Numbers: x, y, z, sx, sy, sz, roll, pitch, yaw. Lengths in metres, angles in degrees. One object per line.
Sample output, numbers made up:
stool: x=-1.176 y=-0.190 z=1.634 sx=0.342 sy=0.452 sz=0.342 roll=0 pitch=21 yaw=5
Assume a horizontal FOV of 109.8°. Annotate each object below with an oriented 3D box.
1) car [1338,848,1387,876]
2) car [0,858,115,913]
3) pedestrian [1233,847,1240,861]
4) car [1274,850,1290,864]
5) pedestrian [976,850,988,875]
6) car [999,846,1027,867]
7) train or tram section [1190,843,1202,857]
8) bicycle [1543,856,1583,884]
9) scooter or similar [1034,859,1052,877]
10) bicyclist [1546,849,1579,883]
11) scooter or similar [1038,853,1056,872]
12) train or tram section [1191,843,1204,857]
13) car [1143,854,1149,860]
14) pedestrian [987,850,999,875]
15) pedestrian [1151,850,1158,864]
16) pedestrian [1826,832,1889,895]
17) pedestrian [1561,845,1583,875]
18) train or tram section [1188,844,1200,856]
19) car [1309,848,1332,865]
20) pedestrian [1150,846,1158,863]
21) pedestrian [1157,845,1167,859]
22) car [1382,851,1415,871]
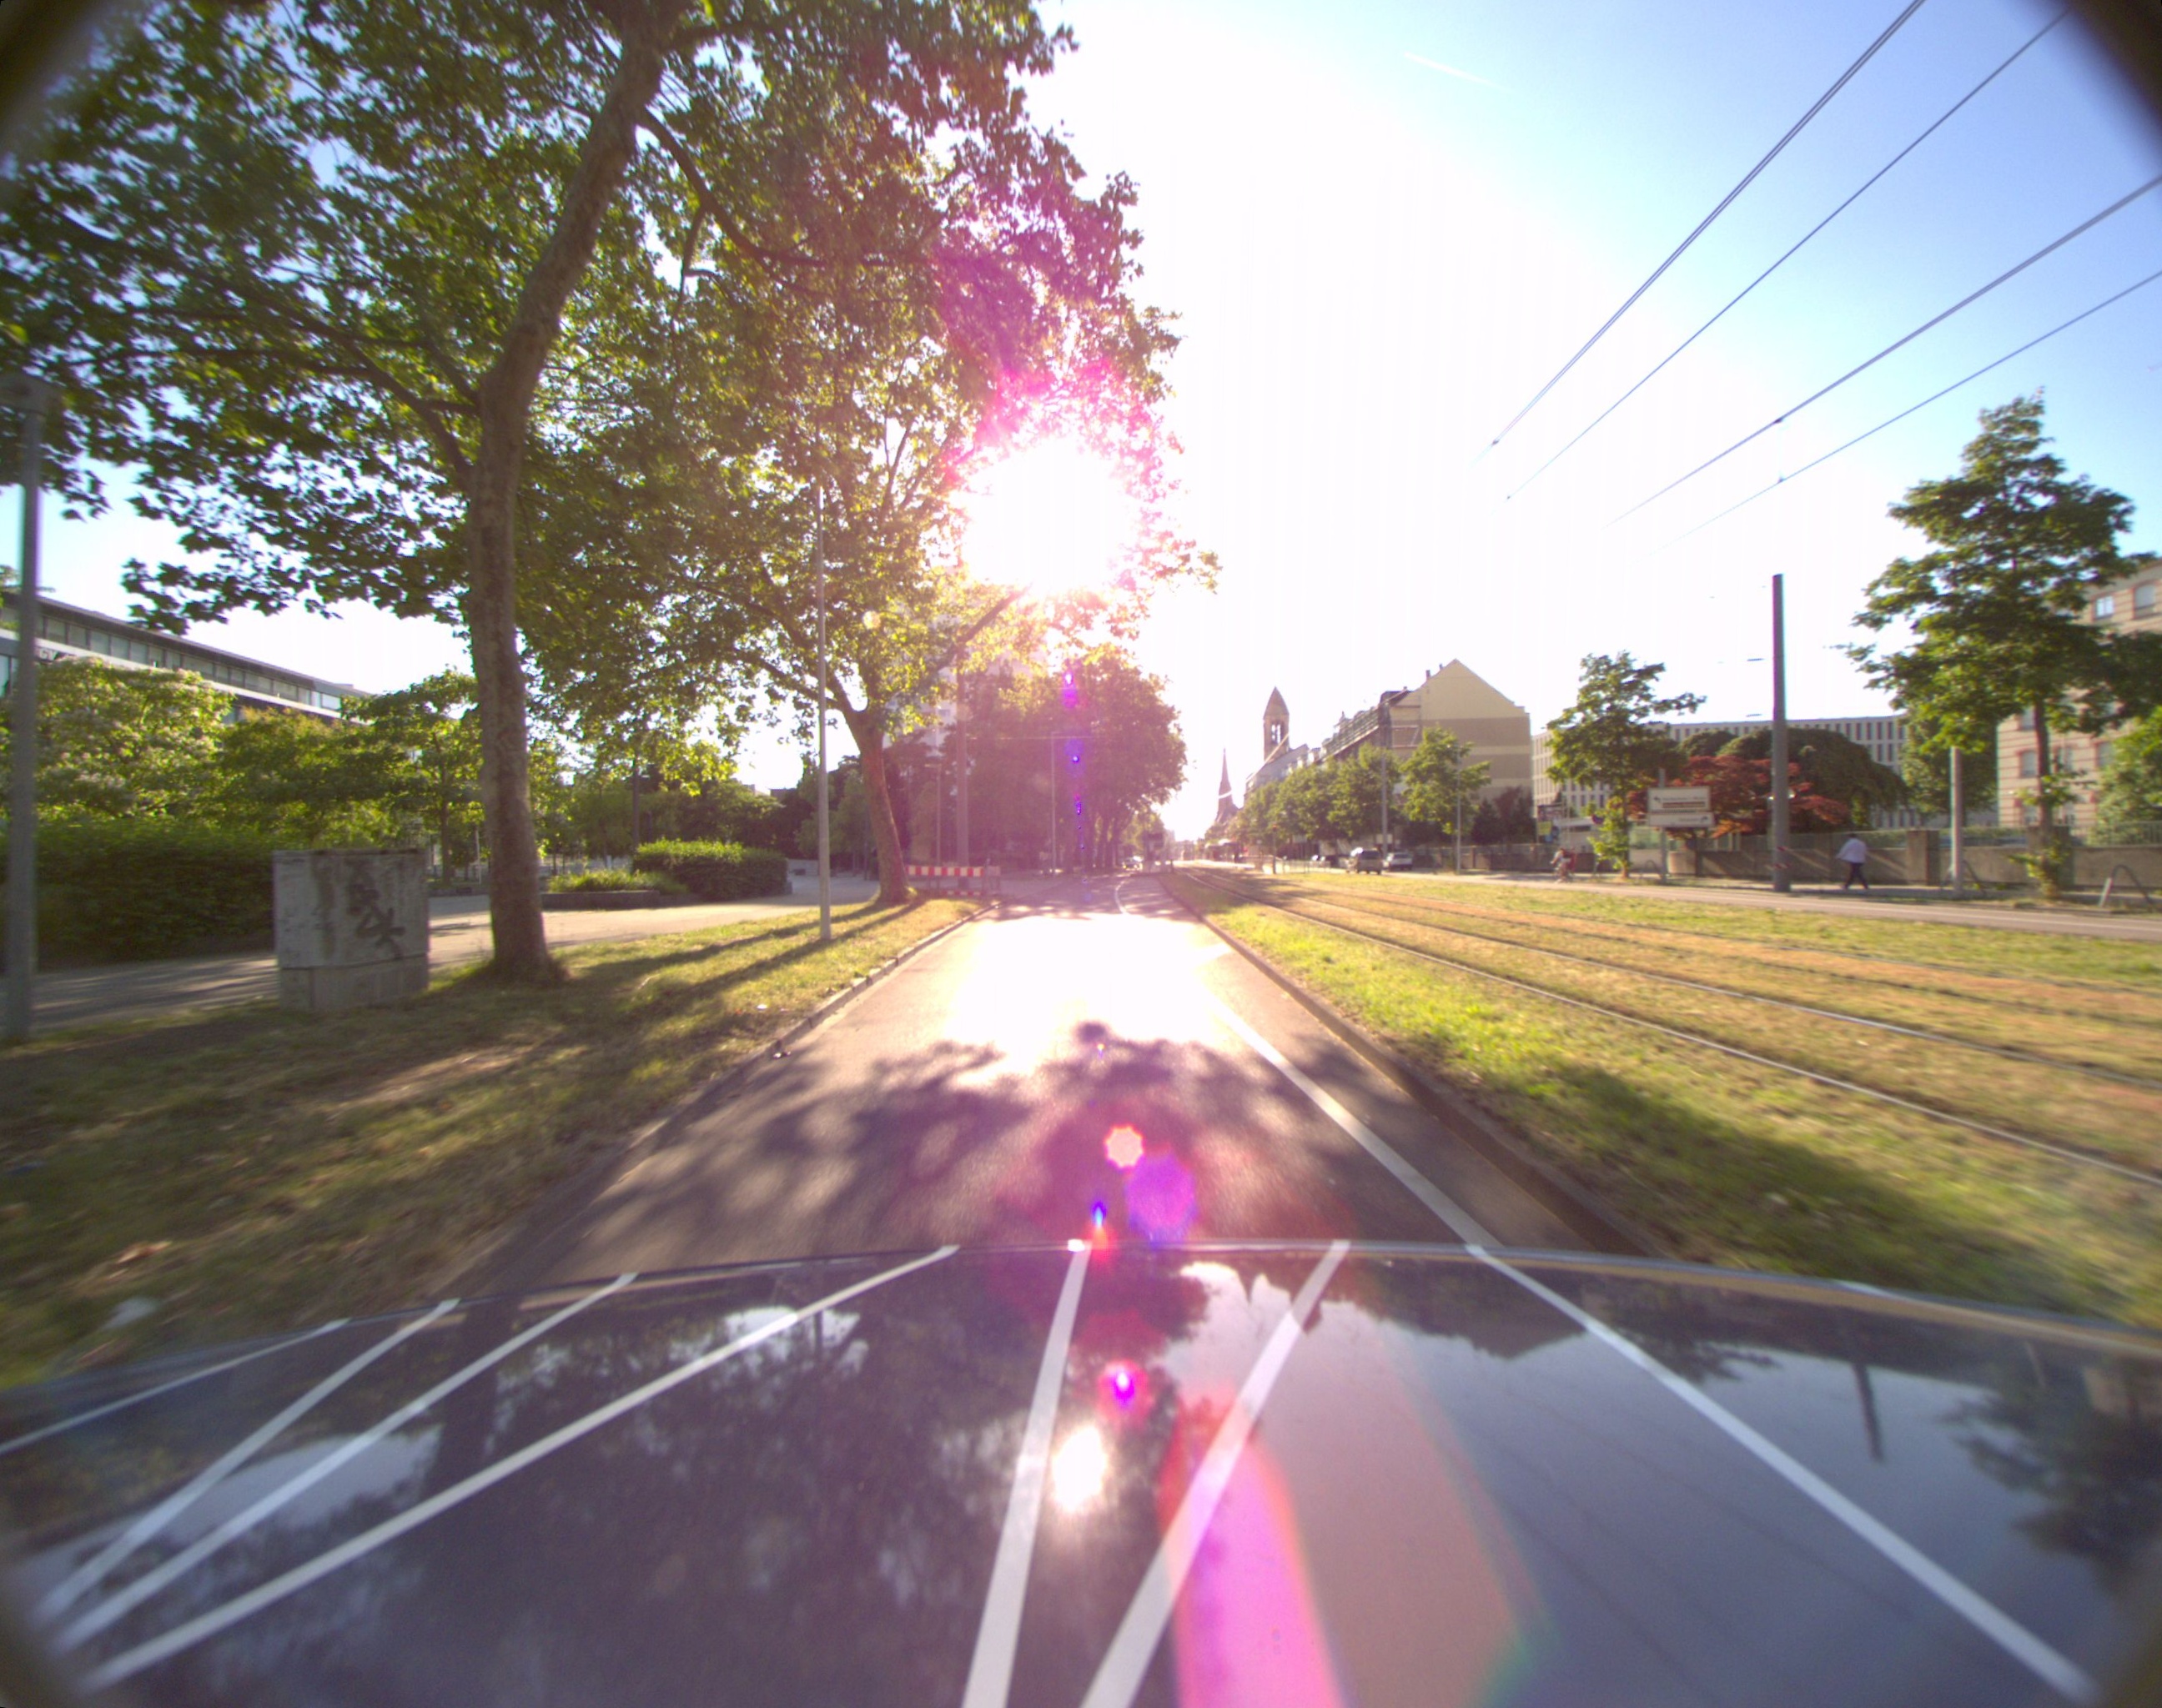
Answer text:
car: x=20.649 y=0.535 z=55.997 sx=1.943 sy=1.907 sz=4.472 roll=-1 pitch=0 yaw=0
car: x=-31.113 y=0.890 z=21.306 sx=4.688 sy=1.476 sz=2.070 roll=-1 pitch=-1 yaw=-13
pedestrian: x=18.891 y=0.009 z=92.245 sx=0.681 sy=1.680 sz=0.655 roll=-3 pitch=0 yaw=4
car: x=33.217 y=0.492 z=125.590 sx=1.944 sy=2.153 sz=3.786 roll=-3 pitch=0 yaw=6
pedestrian: x=-6.623 y=0.554 z=50.803 sx=0.651 sy=1.647 sz=0.783 roll=0 pitch=1 yaw=6
car: x=-8.510 y=0.325 z=95.237 sx=1.997 sy=2.484 sz=6.350 roll=-3 pitch=0 yaw=8
train or tram section: x=32.135 y=-1.155 z=212.809 sx=2.875 sy=3.664 sz=14.567 roll=-1 pitch=0 yaw=6
bicycle: x=21.683 y=0.721 z=34.207 sx=0.776 sy=1.186 sz=1.756 roll=-3 pitch=0 yaw=6
scooter or similar: x=-2.549 y=0.932 z=50.762 sx=1.054 sy=1.237 sz=0.842 roll=0 pitch=1 yaw=8
bicyclist: x=21.678 y=0.514 z=34.257 sx=0.776 sy=1.472 sz=1.134 roll=-3 pitch=0 yaw=6
scooter or similar: x=-2.311 y=0.586 z=51.630 sx=1.054 sy=1.237 sz=0.842 roll=0 pitch=1 yaw=8
train or tram section: x=30.857 y=-1.116 z=200.763 sx=2.875 sy=3.664 sz=9.688 roll=-1 pitch=0 yaw=6
car: x=18.533 y=0.823 z=217.119 sx=1.636 sy=1.491 sz=4.002 roll=2 pitch=0 yaw=6
pedestrian: x=-5.888 y=0.556 z=50.760 sx=0.629 sy=1.647 sz=0.740 roll=0 pitch=1 yaw=6
pedestrian: x=8.508 y=0.340 z=87.564 sx=0.680 sy=1.680 sz=0.895 roll=-3 pitch=0 yaw=6
pedestrian: x=24.158 y=0.300 z=23.665 sx=0.860 sy=1.916 sz=1.087 roll=0 pitch=1 yaw=4
pedestrian: x=27.728 y=0.338 z=42.911 sx=0.726 sy=1.638 sz=0.812 roll=0 pitch=1 yaw=0
train or tram section: x=33.674 y=-1.161 z=227.274 sx=2.875 sy=3.654 sz=14.567 roll=-1 pitch=0 yaw=6
car: x=30.361 y=0.352 z=96.277 sx=1.997 sy=2.002 sz=4.002 roll=-3 pitch=0 yaw=8
pedestrian: x=7.661 y=0.058 z=80.186 sx=0.758 sy=1.680 sz=0.679 roll=-3 pitch=0 yaw=6
pedestrian: x=10.041 y=-0.248 z=94.537 sx=0.912 sy=1.712 sz=0.630 roll=-3 pitch=0 yaw=-28
car: x=27.033 y=0.581 z=64.797 sx=1.724 sy=1.577 sz=4.068 roll=-3 pitch=0 yaw=10
